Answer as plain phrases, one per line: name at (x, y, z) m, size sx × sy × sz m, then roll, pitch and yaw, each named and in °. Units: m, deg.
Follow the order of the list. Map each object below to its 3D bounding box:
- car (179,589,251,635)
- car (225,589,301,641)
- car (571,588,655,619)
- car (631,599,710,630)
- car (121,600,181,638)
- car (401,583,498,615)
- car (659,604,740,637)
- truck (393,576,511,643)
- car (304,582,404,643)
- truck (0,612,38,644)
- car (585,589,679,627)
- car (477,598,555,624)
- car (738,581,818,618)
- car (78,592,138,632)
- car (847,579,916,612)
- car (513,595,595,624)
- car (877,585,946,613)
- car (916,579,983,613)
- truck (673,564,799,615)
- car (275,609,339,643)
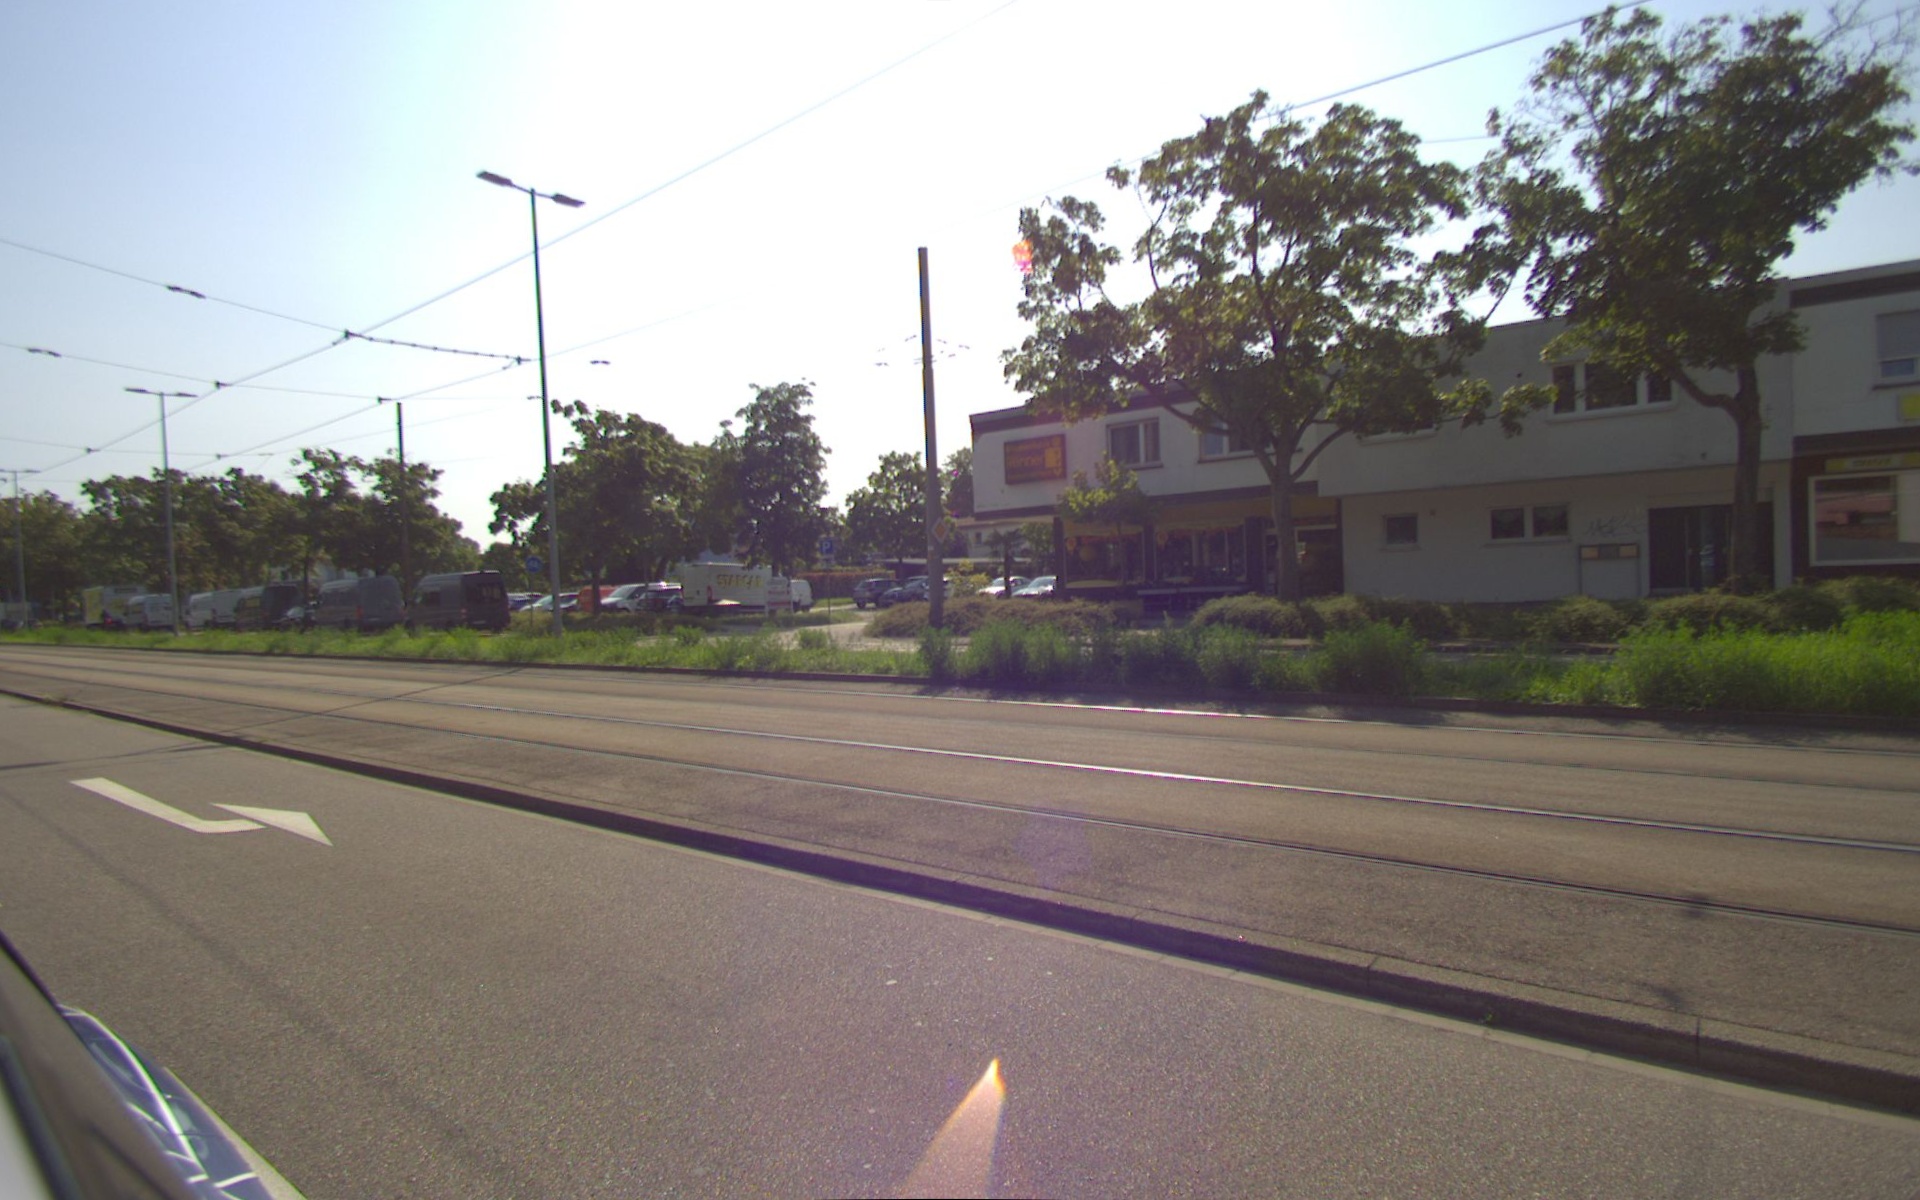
car at (-44.463, 0.744, 60.371) m, size 5.625 × 2.605 × 2.111 m, roll -1°, pitch 0°, yaw 39°
car at (-38.233, 0.858, 55.464) m, size 5.905 × 2.605 × 1.804 m, roll -2°, pitch 2°, yaw 40°
car at (-18.111, 0.163, 52.980) m, size 1.631 × 1.530 × 3.887 m, roll -1°, pitch 0°, yaw 37°
car at (-14.073, 0.689, 49.306) m, size 1.631 × 1.437 × 3.373 m, roll -1°, pitch 0°, yaw 37°
car at (-55.594, 1.318, 69.556) m, size 4.824 × 2.477 × 2.123 m, roll -1°, pitch 0°, yaw 38°
car at (-32.568, -0.103, 64.727) m, size 2.049 × 1.940 × 5.137 m, roll -1°, pitch 0°, yaw 37°
car at (-12.235, 0.940, 47.670) m, size 1.631 × 1.437 × 3.373 m, roll -1°, pitch 0°, yaw 37°
truck at (-20.799, 0.398, 41.348) m, size 5.731 × 2.567 × 2.061 m, roll -1°, pitch 0°, yaw 38°
car at (-28.560, 0.598, 47.585) m, size 6.462 × 2.605 × 1.968 m, roll -1°, pitch 3°, yaw 40°
truck at (-96.301, 2.833, 103.324) m, size 8.783 × 3.145 × 2.249 m, roll -1°, pitch 0°, yaw 42°
car at (-16.400, 0.361, 50.783) m, size 1.631 × 1.798 × 4.358 m, roll -1°, pitch 0°, yaw 37°
car at (-26.131, 0.628, 59.630) m, size 1.631 × 1.461 × 3.887 m, roll -1°, pitch 0°, yaw 37°
car at (-9.946, -0.025, 55.126) m, size 4.418 × 1.771 × 1.963 m, roll -3°, pitch 1°, yaw 42°
car at (-63.424, 0.934, 75.251) m, size 7.223 × 2.826 × 2.103 m, roll -1°, pitch 0°, yaw 39°
car at (-4.491, -0.281, 58.331) m, size 1.759 × 1.782 × 3.761 m, roll -1°, pitch 0°, yaw 43°
car at (-22.415, 0.511, 56.008) m, size 1.618 × 1.474 × 4.129 m, roll -2°, pitch 0°, yaw 29°
car at (-2.610, -0.066, 55.446) m, size 3.663 × 1.353 × 1.492 m, roll -3°, pitch 1°, yaw -44°
car at (-0.550, -0.210, 54.217) m, size 1.872 × 1.513 × 3.418 m, roll -2°, pitch 3°, yaw 35°
truck at (-10.171, -0.469, 46.370) m, size 2.256 × 2.189 × 5.439 m, roll -1°, pitch 0°, yaw 37°
car at (-33.262, 1.323, 51.523) m, size 3.832 × 1.563 × 1.727 m, roll -1°, pitch 2°, yaw 41°
